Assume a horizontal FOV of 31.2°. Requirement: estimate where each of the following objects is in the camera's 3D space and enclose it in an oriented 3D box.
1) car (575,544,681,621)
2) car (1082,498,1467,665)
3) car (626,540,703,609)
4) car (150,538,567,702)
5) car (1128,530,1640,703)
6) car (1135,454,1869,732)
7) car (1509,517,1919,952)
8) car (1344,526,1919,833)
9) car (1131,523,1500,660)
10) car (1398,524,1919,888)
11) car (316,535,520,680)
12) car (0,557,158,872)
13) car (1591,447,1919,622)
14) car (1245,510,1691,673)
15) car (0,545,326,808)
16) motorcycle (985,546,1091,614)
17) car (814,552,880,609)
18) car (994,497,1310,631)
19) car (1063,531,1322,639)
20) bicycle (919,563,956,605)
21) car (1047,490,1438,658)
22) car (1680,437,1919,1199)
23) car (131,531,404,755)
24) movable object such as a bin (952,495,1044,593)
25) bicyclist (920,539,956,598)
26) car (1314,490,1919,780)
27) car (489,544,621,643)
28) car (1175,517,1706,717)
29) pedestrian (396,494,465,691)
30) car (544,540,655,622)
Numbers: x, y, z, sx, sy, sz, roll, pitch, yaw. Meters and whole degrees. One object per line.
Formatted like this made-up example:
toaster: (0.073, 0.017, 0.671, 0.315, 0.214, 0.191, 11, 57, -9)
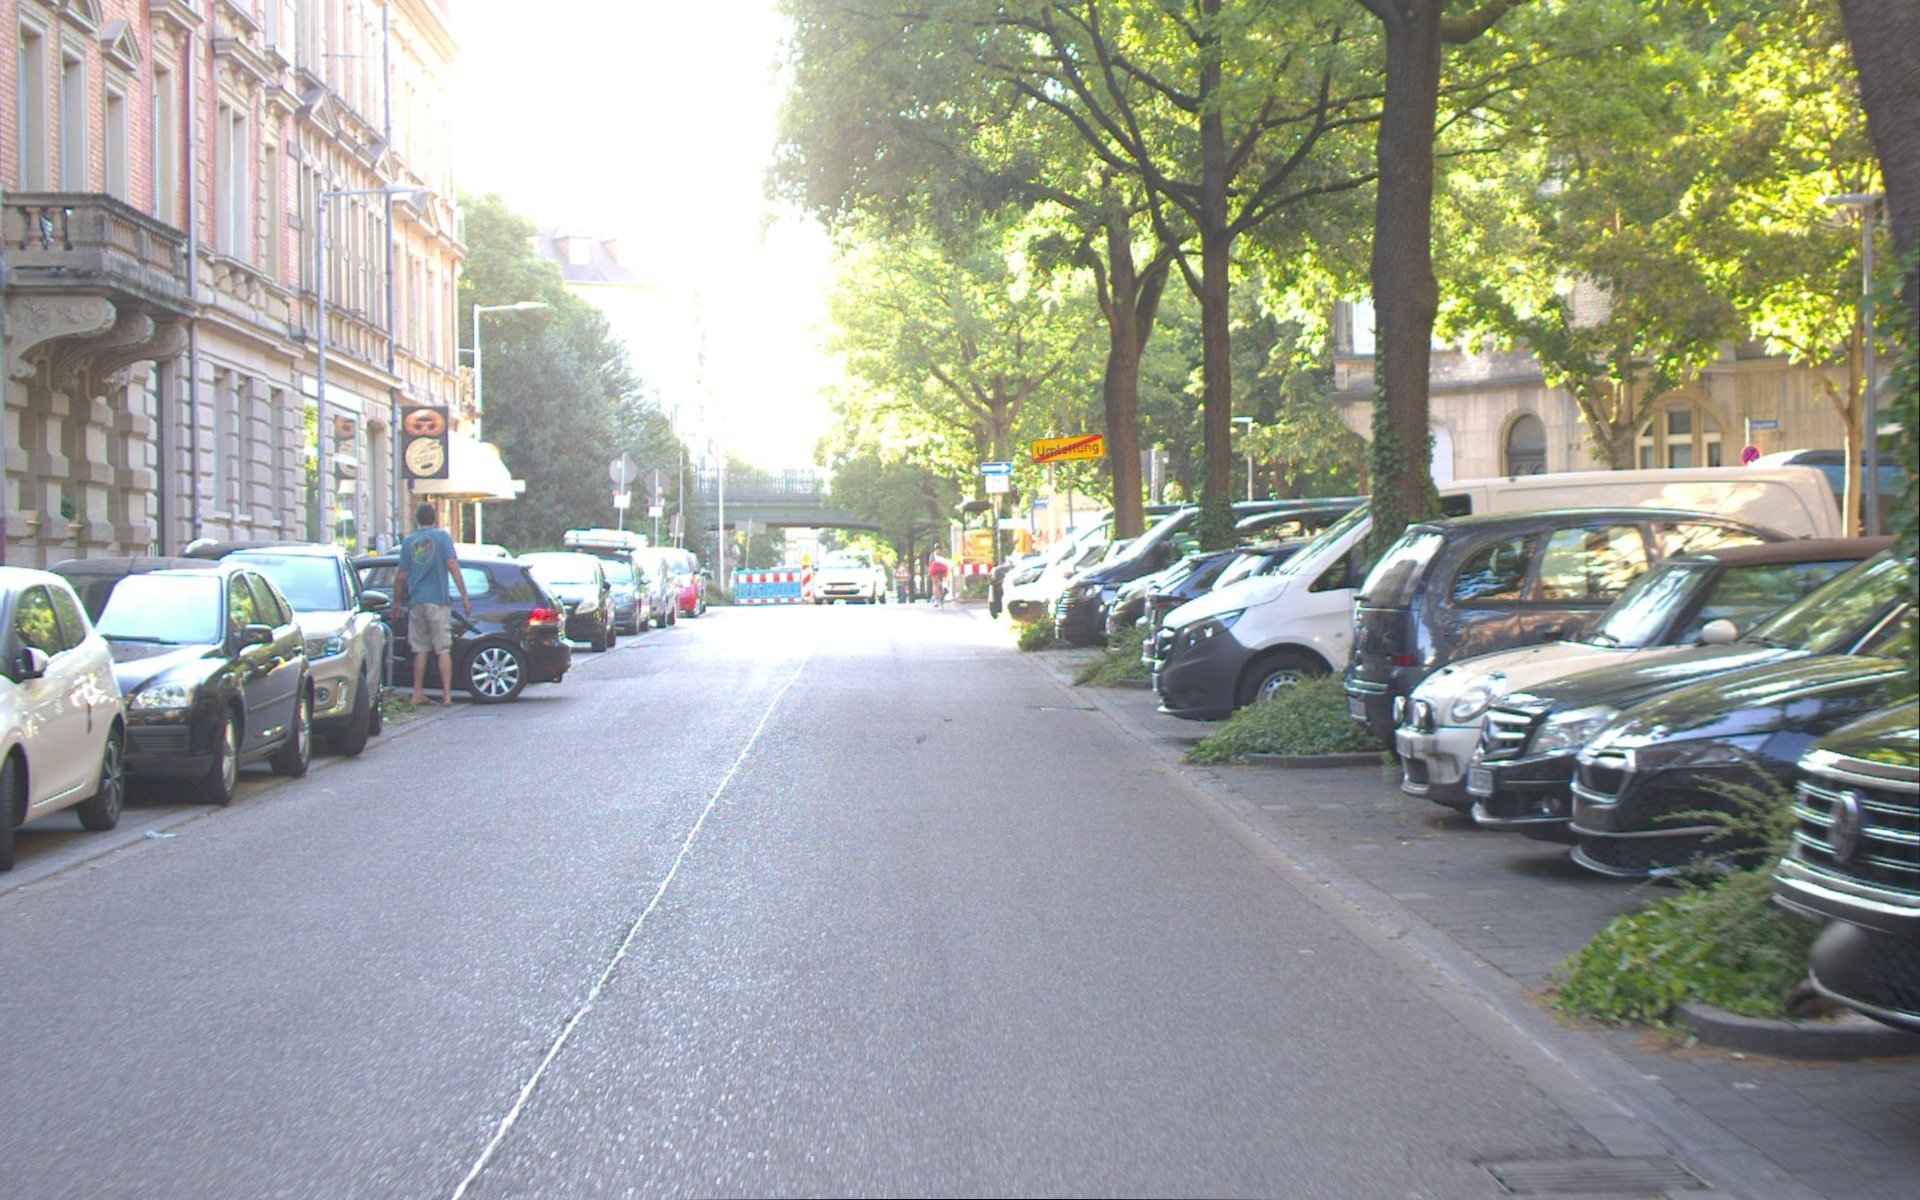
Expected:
car: (-6.541, -0.374, 68.062, 1.725, 1.432, 3.996, 1, 1, -1)
car: (3.689, -0.236, 40.789, 4.267, 1.878, 1.940, -1, 1, -4)
car: (-6.715, -0.582, 78.393, 1.669, 1.525, 4.001, 0, 1, -4)
car: (-5.964, 0.179, 34.461, 3.986, 1.524, 1.826, -1, 1, -7)
car: (3.782, 0.129, 31.234, 4.369, 1.450, 1.934, -1, 1, -1)
car: (3.934, -0.009, 25.691, 5.091, 1.933, 2.158, -1, -3, -1)
car: (4.540, 0.437, 13.140, 4.552, 1.524, 2.000, -1, 1, 0)
car: (4.255, 0.368, 18.260, 4.104, 1.498, 1.811, -1, 1, -5)
car: (3.918, -0.109, 38.363, 3.987, 1.443, 1.890, -1, 1, 3)
car: (4.537, 0.401, 15.681, 4.658, 1.498, 1.933, -1, 1, -10)
car: (-6.131, 0.048, 39.281, 1.741, 1.562, 3.895, -1, 1, -1)
car: (-5.393, 0.533, 17.914, 1.582, 1.468, 4.000, -1, 1, -2)
car: (12.648, -0.983, 51.369, 5.893, 2.528, 2.380, 0, 1, -7)
car: (4.951, -0.099, 33.883, 4.081, 1.492, 1.843, -1, 1, -1)
car: (-5.242, 0.418, 22.106, 1.647, 1.468, 4.000, 2, 1, -2)
motorcycle: (1.564, -0.412, 69.257, 2.023, 1.280, 0.904, -3, 1, -3)
car: (-3.096, -0.553, 94.483, 1.749, 1.504, 4.000, -1, 1, -1)
car: (3.082, -0.594, 55.983, 4.973, 2.089, 2.106, -1, 1, -1)
car: (3.553, -0.242, 53.053, 3.840, 1.590, 1.741, -1, 1, -1)
bicycle: (-0.542, -0.382, 81.622, 0.803, 0.965, 2.109, 1, 1, -2)
car: (3.488, -0.339, 43.046, 4.614, 2.007, 2.000, -1, 1, -3)
car: (4.322, 0.386, 8.333, 4.644, 1.696, 1.882, -2, 1, -4)
car: (-5.352, 0.272, 26.986, 1.647, 1.569, 4.050, 2, 1, -6)
movable object such as a bin: (1.080, -1.558, 96.139, 1.994, 2.690, 3.109, 0, 0, 12)
bicyclist: (-0.526, -0.741, 81.505, 0.803, 1.378, 0.985, 1, 1, -2)
car: (4.262, 0.180, 21.006, 3.883, 1.643, 1.725, -1, 1, -6)
car: (-6.162, -0.131, 52.675, 1.703, 1.449, 4.021, -1, 1, -3)
car: (3.946, 0.113, 28.574, 3.986, 1.469, 1.782, -2, 1, -8)
pedestrian: (-5.142, -0.078, 33.399, 0.590, 1.881, 0.640, -1, 1, -5)
car: (-6.555, -0.367, 62.842, 1.764, 1.432, 4.301, 0, 1, -3)
